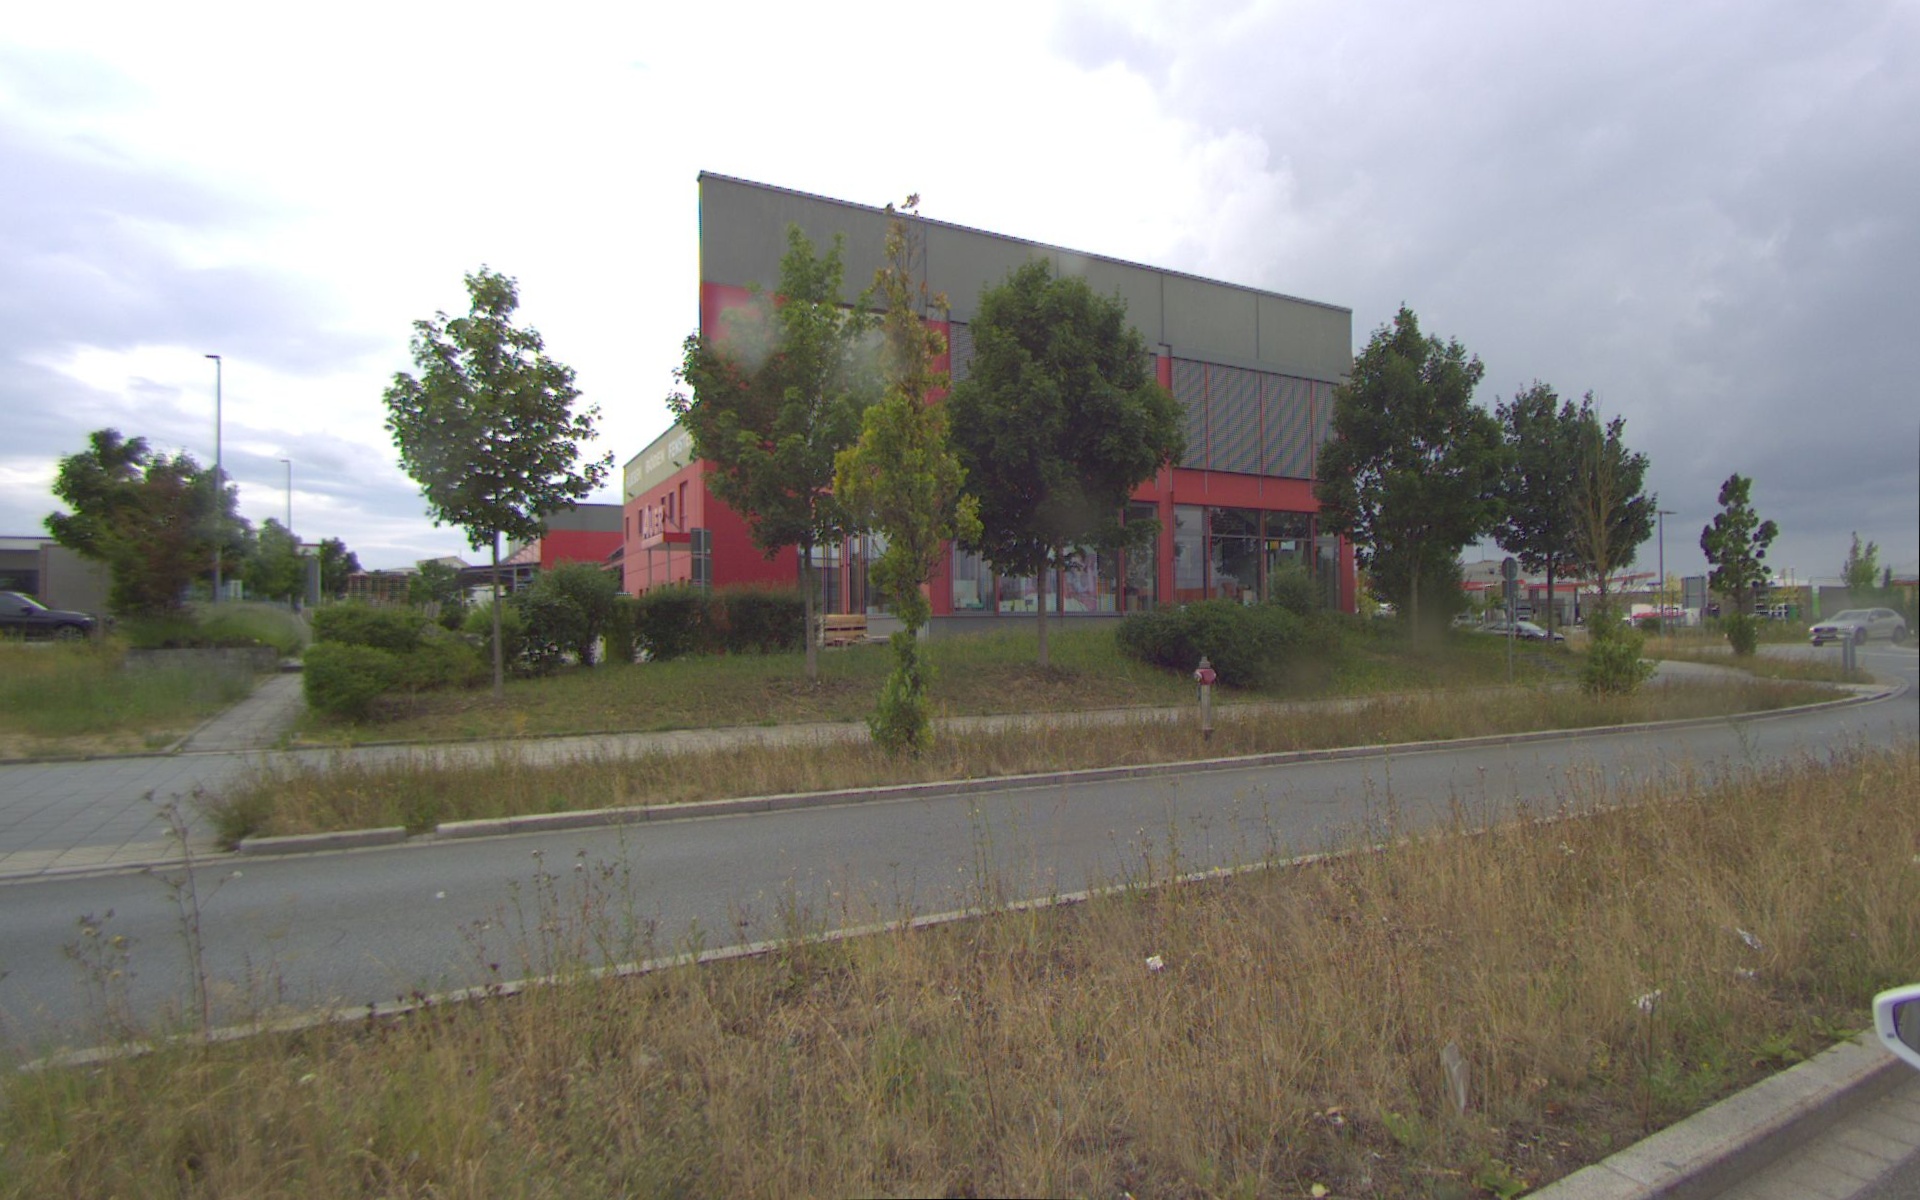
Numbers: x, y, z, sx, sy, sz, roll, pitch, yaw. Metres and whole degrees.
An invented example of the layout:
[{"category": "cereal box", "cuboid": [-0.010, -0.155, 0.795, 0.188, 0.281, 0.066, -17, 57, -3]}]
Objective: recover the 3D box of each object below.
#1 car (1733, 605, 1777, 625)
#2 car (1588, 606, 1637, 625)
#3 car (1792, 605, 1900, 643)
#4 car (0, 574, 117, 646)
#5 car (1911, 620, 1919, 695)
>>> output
[{"category": "car", "cuboid": [75.888, 1.455, 95.880, 3.951, 1.884, 1.985, 1, -1, -29]}, {"category": "car", "cuboid": [70.129, 1.650, 108.053, 1.977, 2.040, 3.967, 0, -1, -31]}, {"category": "car", "cuboid": [41.243, 1.111, 46.748, 4.149, 1.713, 2.024, 1, -1, -19]}, {"category": "car", "cuboid": [-28.214, 0.306, 29.789, 4.582, 2.060, 1.985, 1, -2, -29]}, {"category": "car", "cuboid": [22.067, 1.230, 21.832, 4.200, 1.548, 1.823, 2, -4, -44]}]
